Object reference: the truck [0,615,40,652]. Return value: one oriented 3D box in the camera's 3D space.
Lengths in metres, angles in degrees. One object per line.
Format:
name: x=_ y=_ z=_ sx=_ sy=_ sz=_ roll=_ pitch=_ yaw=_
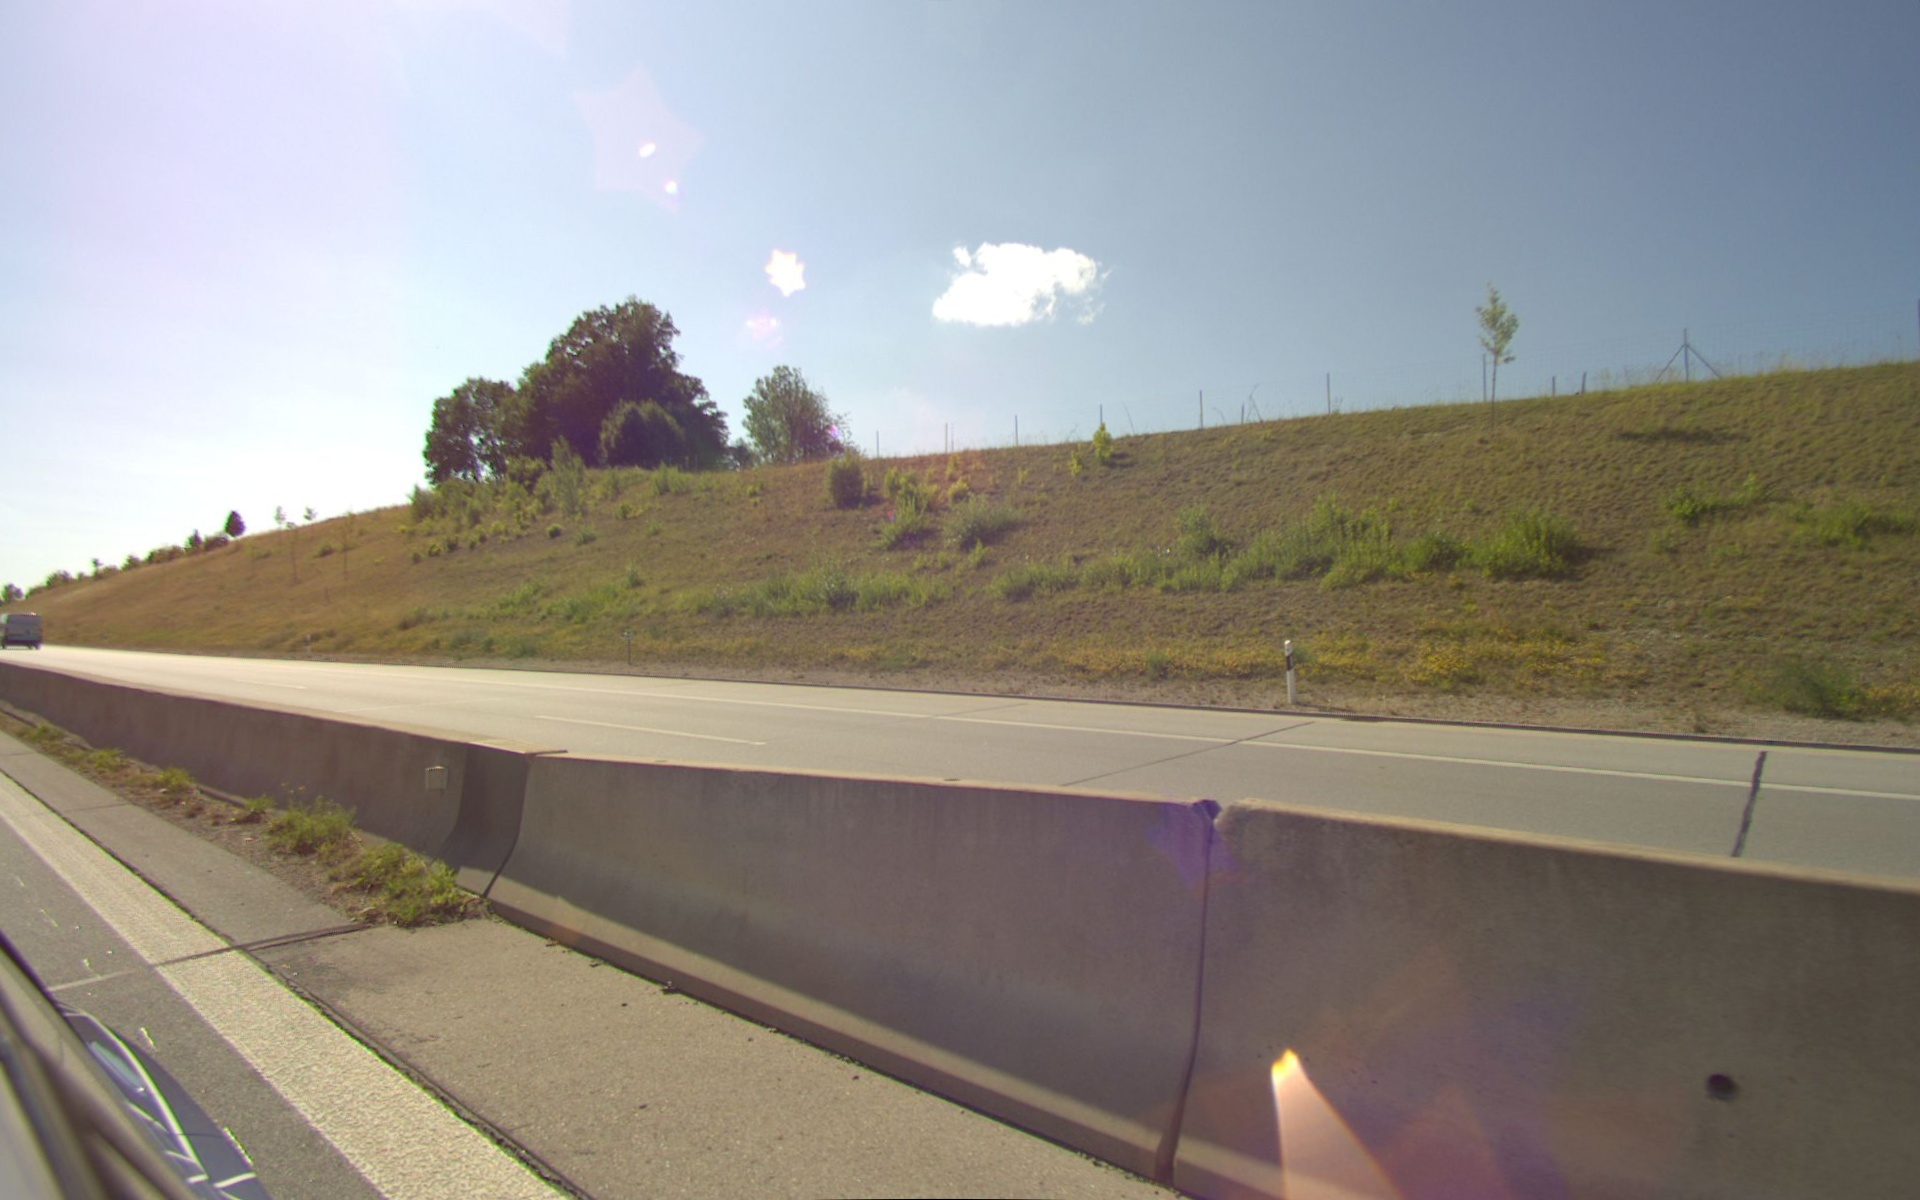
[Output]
truck: x=-66.479 y=2.354 z=71.140 sx=5.664 sy=2.467 sz=1.973 roll=-2 pitch=-2 yaw=41
